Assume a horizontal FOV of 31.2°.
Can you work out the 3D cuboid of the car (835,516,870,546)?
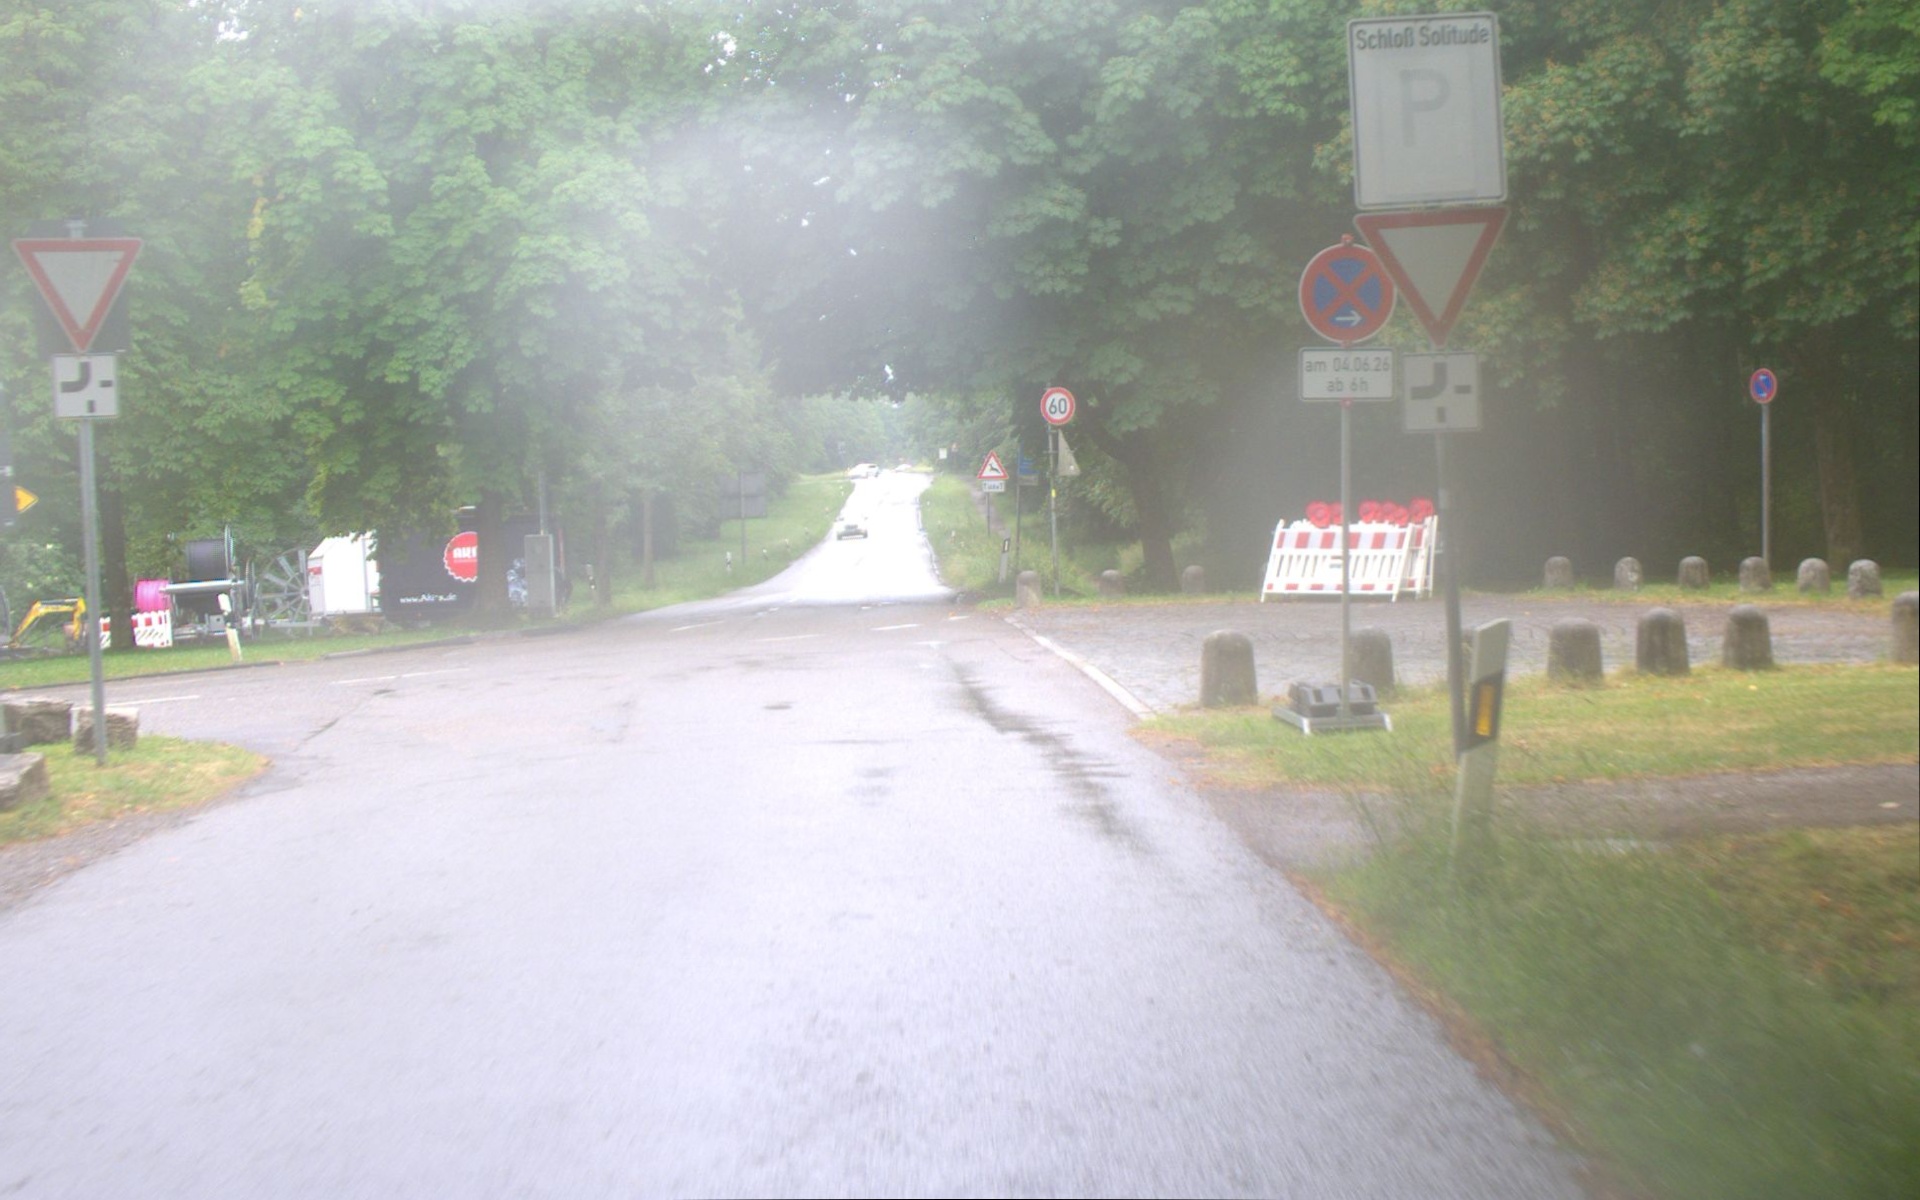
[{"bbox_3d":[-6.624,-4.231,211.472,1.993,1.711,4.000,-3,1,-1],"label":"car"}]

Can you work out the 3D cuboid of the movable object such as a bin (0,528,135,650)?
[{"bbox_3d":[-26.479,-0.310,99.817,4.580,3.282,3.667,-4,1,-11],"label":"movable object such as a bin"}]
